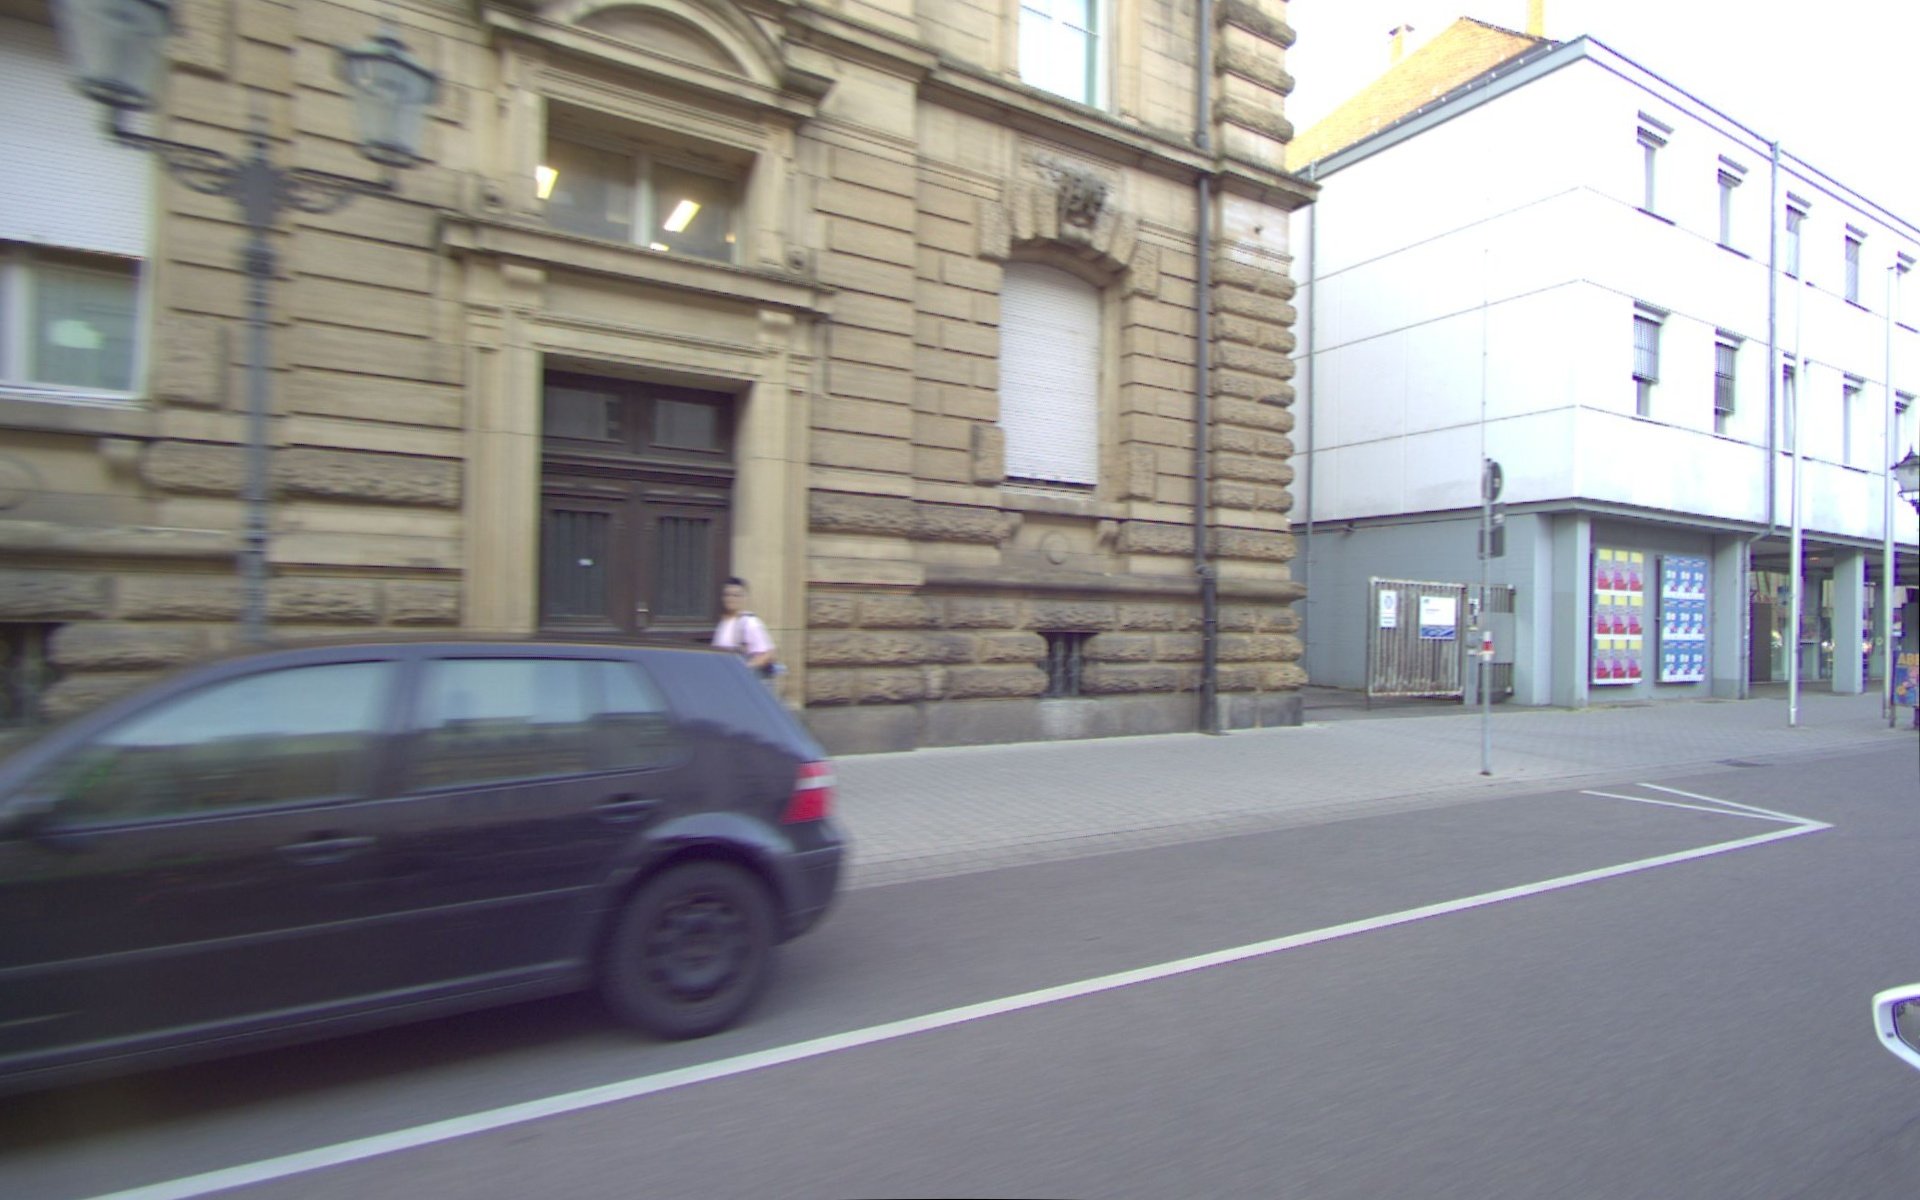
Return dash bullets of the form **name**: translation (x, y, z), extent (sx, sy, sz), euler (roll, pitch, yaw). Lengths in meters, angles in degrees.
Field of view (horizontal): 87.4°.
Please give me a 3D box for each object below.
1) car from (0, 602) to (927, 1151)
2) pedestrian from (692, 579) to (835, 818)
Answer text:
- **car**: translation (-2.411, 0.808, 4.076), extent (4.116, 1.514, 1.984), euler (2, -2, -30)
- **pedestrian**: translation (-1.560, 0.735, 7.930), extent (0.885, 1.753, 0.710), euler (1, 2, -29)
